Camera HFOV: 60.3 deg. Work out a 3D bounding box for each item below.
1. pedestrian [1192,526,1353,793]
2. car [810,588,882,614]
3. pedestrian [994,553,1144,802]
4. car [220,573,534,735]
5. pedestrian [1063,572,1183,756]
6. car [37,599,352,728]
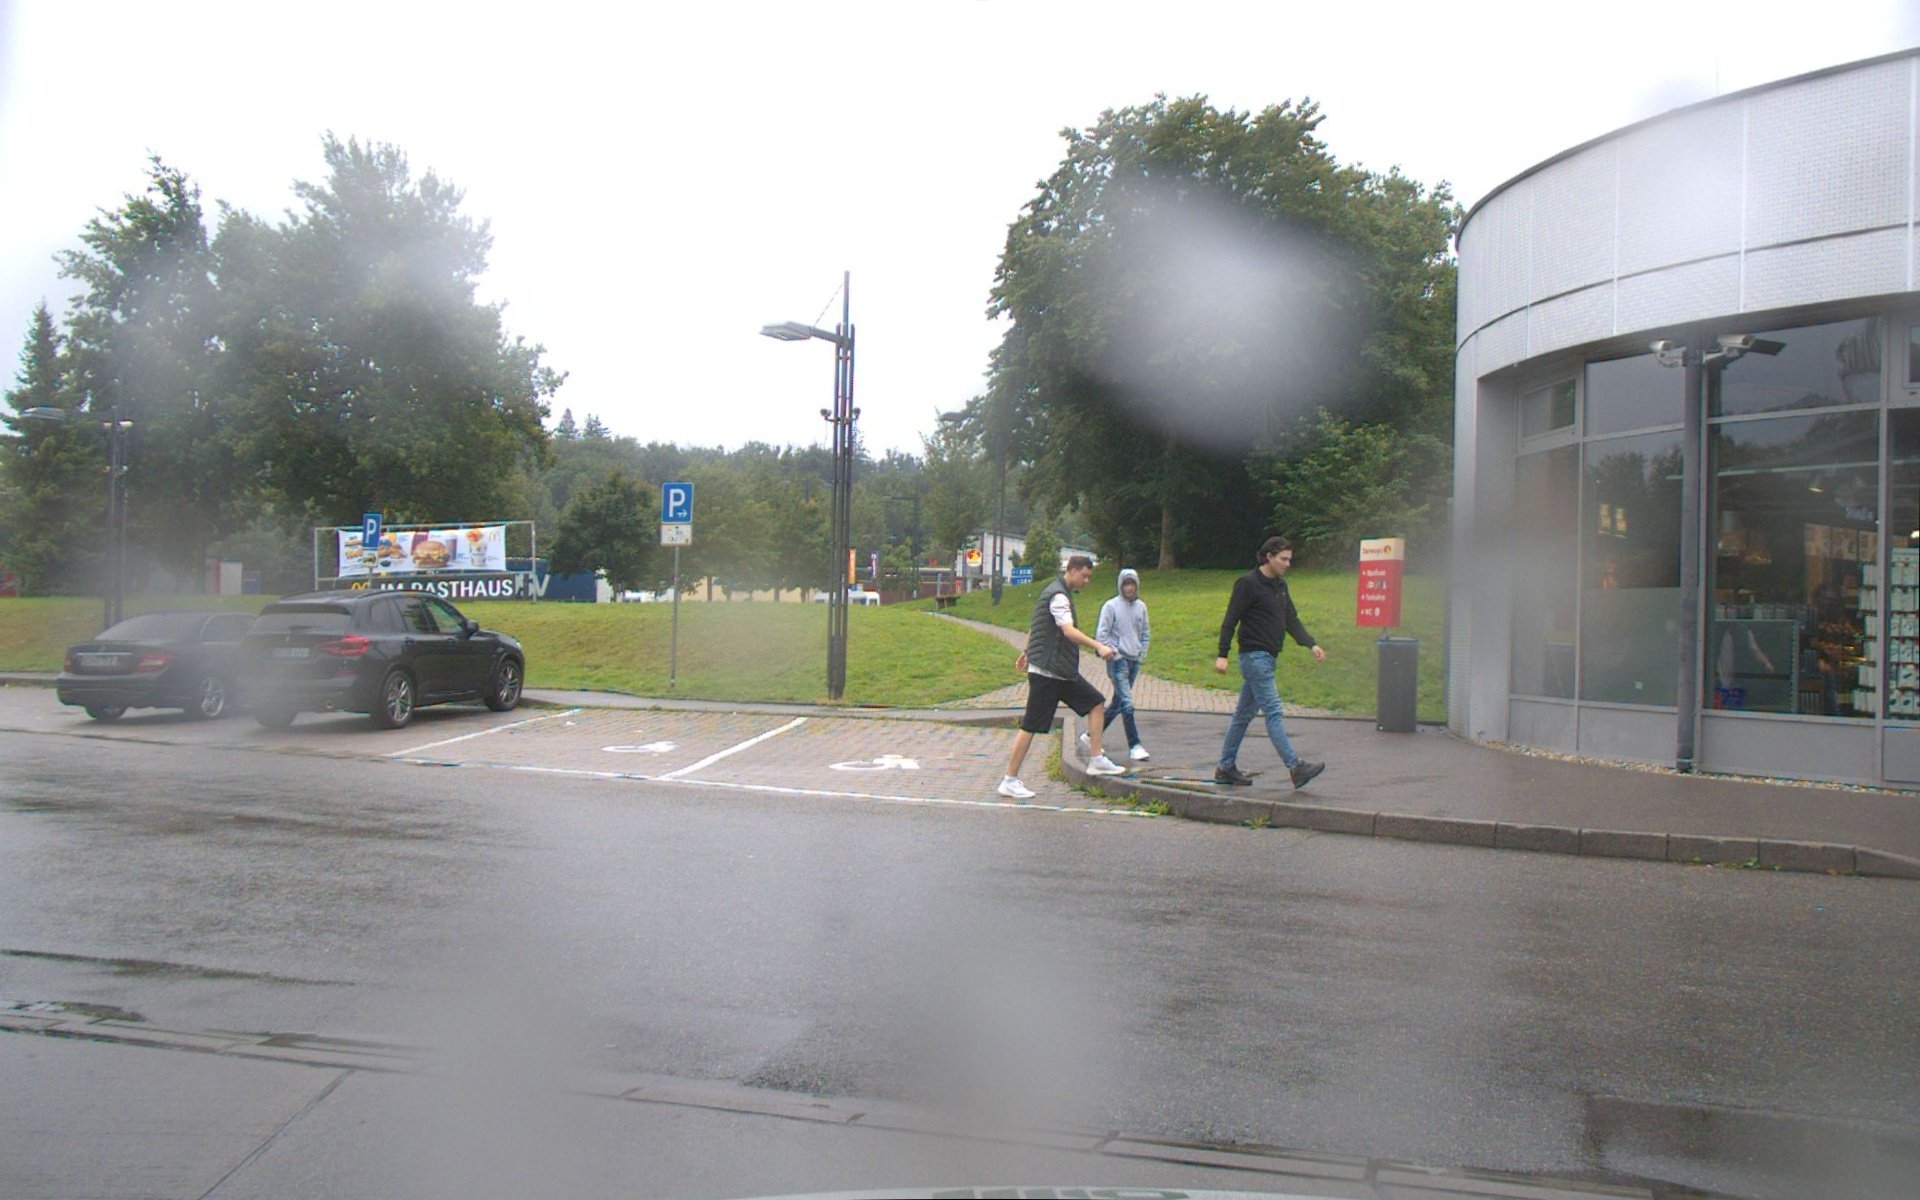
[{"bbox_3d":[2.331,0.419,12.310,0.979,1.897,0.798,0,0,28],"label":"pedestrian"},{"bbox_3d":[-9.191,0.066,133.559,5.310,2.049,2.456,1,0,19],"label":"car"},{"bbox_3d":[0.866,0.583,13.070,0.954,1.880,0.772,0,0,28],"label":"pedestrian"},{"bbox_3d":[-7.333,0.615,21.336,1.844,1.860,4.417,0,0,11],"label":"car"},{"bbox_3d":[1.447,0.546,14.632,0.872,1.577,0.659,0,0,29],"label":"pedestrian"},{"bbox_3d":[-10.358,0.788,22.776,1.844,1.592,4.189,0,0,11],"label":"car"}]
